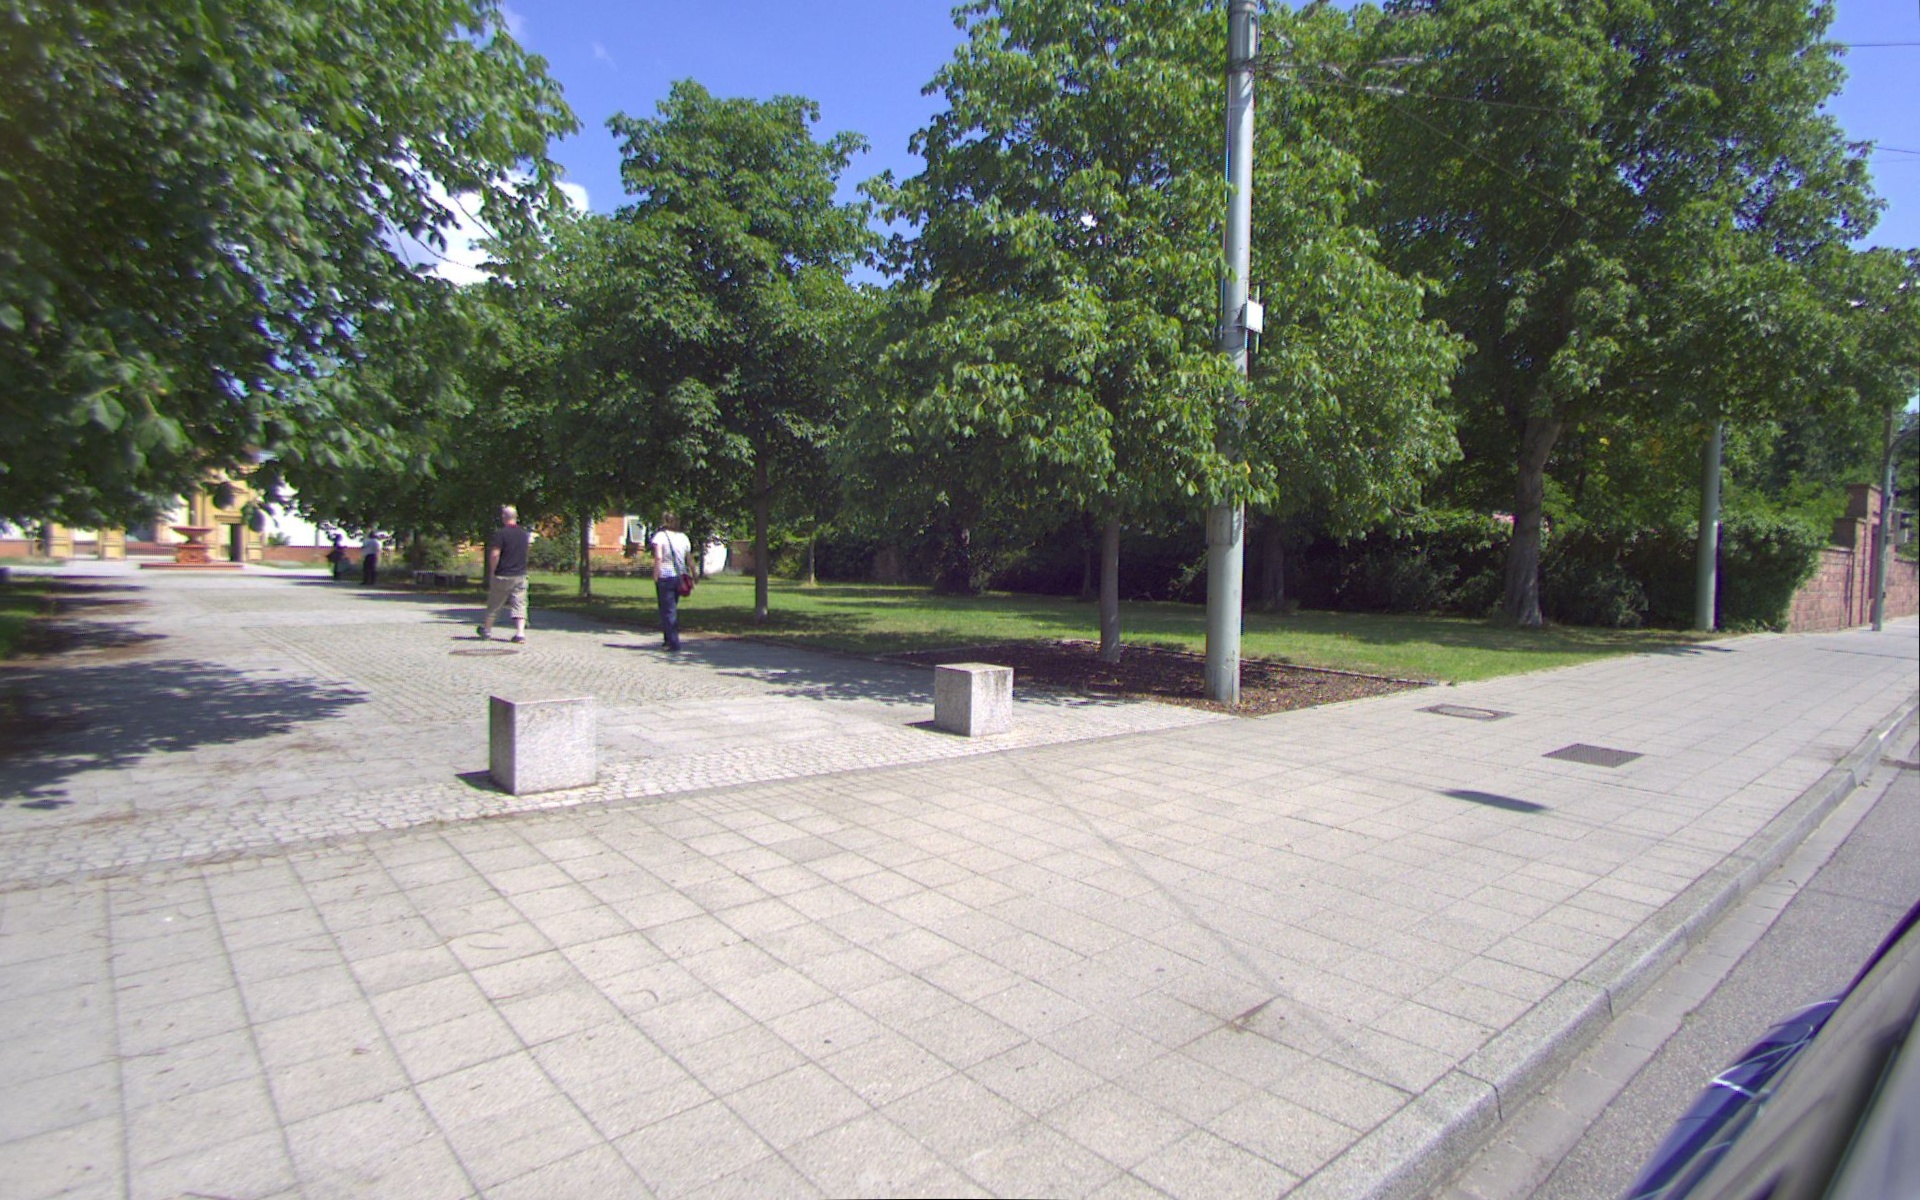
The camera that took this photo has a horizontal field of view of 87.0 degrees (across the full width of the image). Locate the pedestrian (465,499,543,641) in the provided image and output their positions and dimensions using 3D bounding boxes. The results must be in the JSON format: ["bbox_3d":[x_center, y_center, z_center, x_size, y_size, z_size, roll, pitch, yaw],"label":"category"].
[{"bbox_3d":[-6.021,-0.393,13.356,0.794,1.802,0.678,0,2,-37],"label":"pedestrian"}]

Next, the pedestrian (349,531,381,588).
[{"bbox_3d":[-19.138,-1.301,32.553,0.794,1.820,0.678,0,2,-37],"label":"pedestrian"}]

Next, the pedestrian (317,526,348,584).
[{"bbox_3d":[-20.167,-1.448,32.531,0.794,1.820,0.678,0,2,-37],"label":"pedestrian"}]

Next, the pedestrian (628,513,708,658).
[{"bbox_3d":[-3.815,-0.197,13.216,0.794,1.820,0.678,0,2,-37],"label":"pedestrian"}]
